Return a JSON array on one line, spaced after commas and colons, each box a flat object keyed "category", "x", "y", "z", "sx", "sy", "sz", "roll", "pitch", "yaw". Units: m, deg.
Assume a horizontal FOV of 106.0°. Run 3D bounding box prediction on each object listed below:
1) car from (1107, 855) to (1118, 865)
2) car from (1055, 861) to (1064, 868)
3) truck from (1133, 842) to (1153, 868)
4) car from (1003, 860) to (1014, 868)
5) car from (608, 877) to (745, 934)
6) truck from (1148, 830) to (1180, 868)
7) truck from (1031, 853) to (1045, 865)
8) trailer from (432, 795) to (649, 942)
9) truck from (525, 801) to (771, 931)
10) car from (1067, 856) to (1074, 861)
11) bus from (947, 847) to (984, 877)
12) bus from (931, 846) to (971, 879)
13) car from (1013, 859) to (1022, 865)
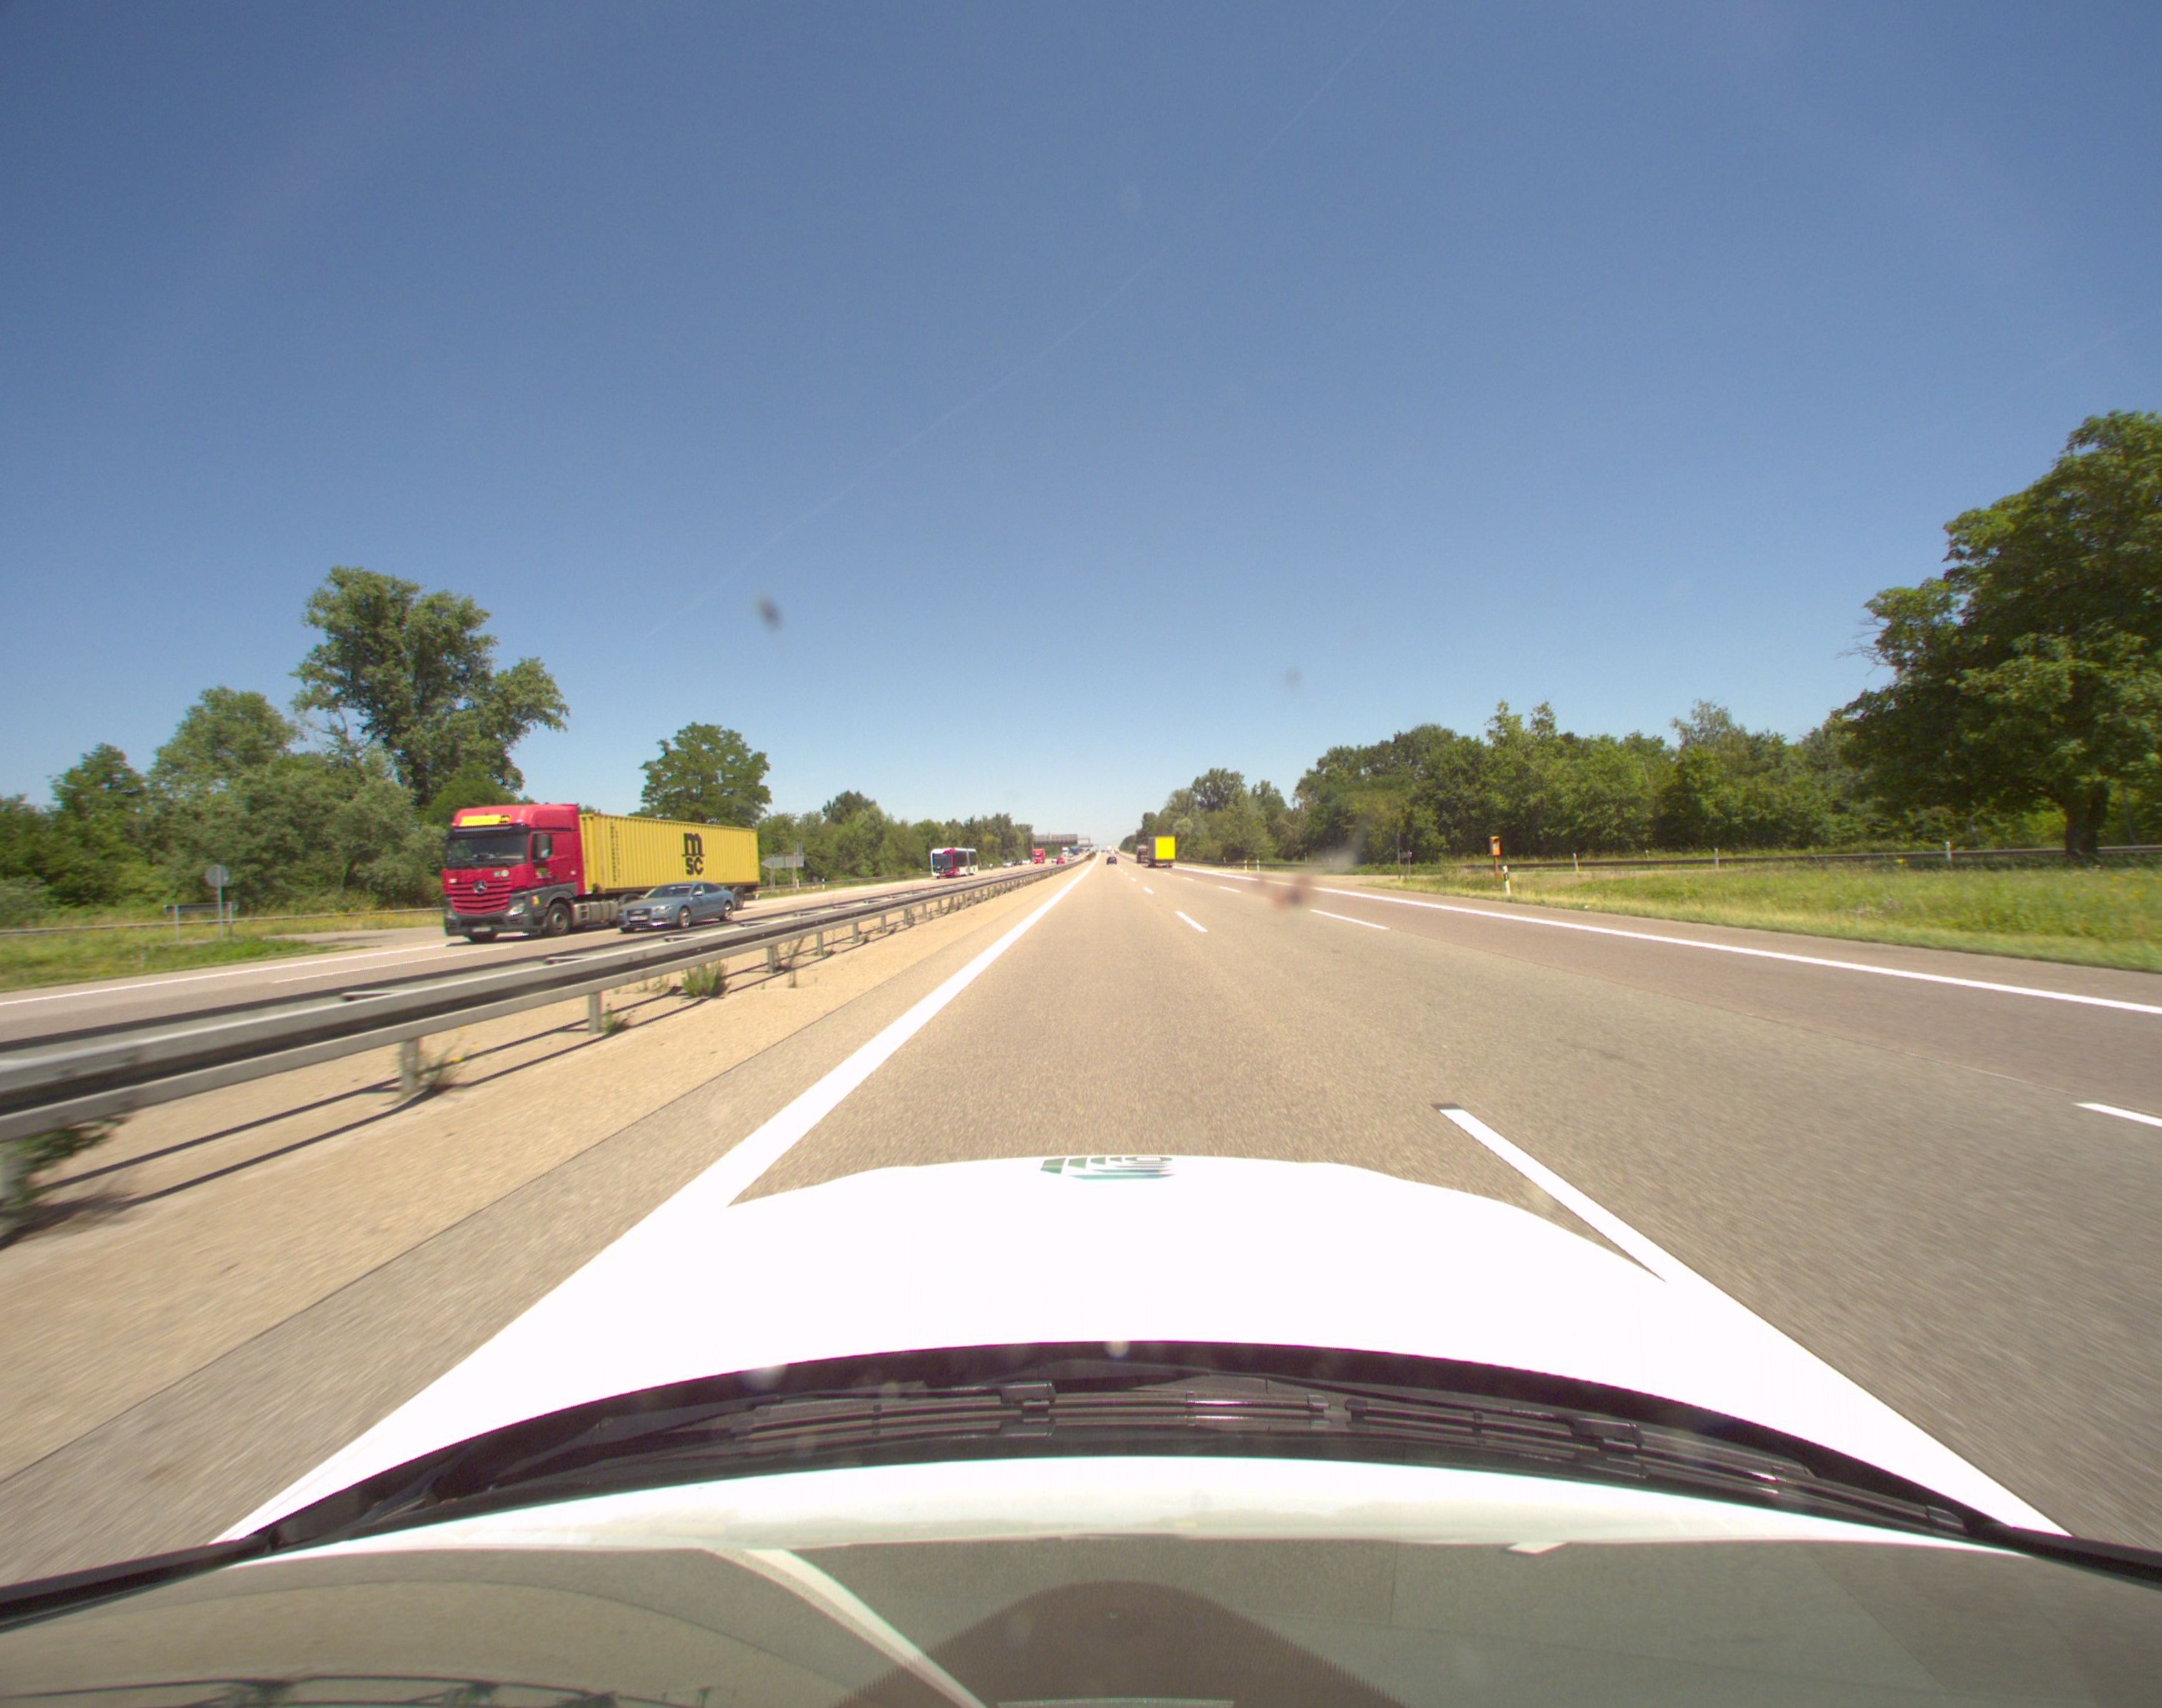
[{"category": "car", "x": 5.590, "y": 1.038, "z": 145.995, "sx": 1.820, "sy": 1.706, "sz": 4.001, "roll": -1, "pitch": 0, "yaw": 1}, {"category": "car", "x": -4.771, "y": 2.298, "z": 179.558, "sx": 1.802, "sy": 1.504, "sz": 4.001, "roll": -2, "pitch": 0, "yaw": 2}, {"category": "truck", "x": 12.084, "y": 0.149, "z": 160.712, "sx": 3.353, "sy": 4.881, "sz": 15.094, "roll": -1, "pitch": 0, "yaw": 2}, {"category": "car", "x": -15.483, "y": 2.160, "z": 175.006, "sx": 1.802, "sy": 1.772, "sz": 4.001, "roll": -2, "pitch": 0, "yaw": 2}, {"category": "car", "x": -12.324, "y": 1.511, "z": 25.208, "sx": 1.715, "sy": 1.380, "sz": 4.786, "roll": -5, "pitch": -1, "yaw": 0}, {"category": "truck", "x": 11.248, "y": -0.570, "z": 111.793, "sx": 3.363, "sy": 4.881, "sz": 15.094, "roll": -1, "pitch": 0, "yaw": 2}, {"category": "truck", "x": -11.482, "y": 1.362, "z": 217.755, "sx": 2.588, "sy": 3.212, "sz": 12.129, "roll": -1, "pitch": 0, "yaw": 2}, {"category": "trailer", "x": -16.415, "y": 0.404, "z": 25.333, "sx": 2.593, "sy": 3.992, "sz": 6.031, "roll": -1, "pitch": 0, "yaw": 2}, {"category": "truck", "x": -16.267, "y": 0.403, "z": 32.380, "sx": 2.590, "sy": 4.047, "sz": 12.695, "roll": -2, "pitch": 0, "yaw": 1}, {"category": "car", "x": -3.039, "y": 1.286, "z": 236.233, "sx": 1.802, "sy": 1.504, "sz": 4.001, "roll": -2, "pitch": 0, "yaw": 2}, {"category": "bus", "x": -14.399, "y": 0.996, "z": 102.523, "sx": 2.753, "sy": 3.447, "sz": 10.149, "roll": -2, "pitch": 0, "yaw": 2}, {"category": "bus", "x": -14.704, "y": 0.951, "z": 93.010, "sx": 2.753, "sy": 3.447, "sz": 8.935, "roll": -2, "pitch": 0, "yaw": 2}, {"category": "car", "x": -15.701, "y": 1.989, "z": 201.131, "sx": 1.802, "sy": 1.504, "sz": 4.001, "roll": -2, "pitch": 0, "yaw": 2}]
